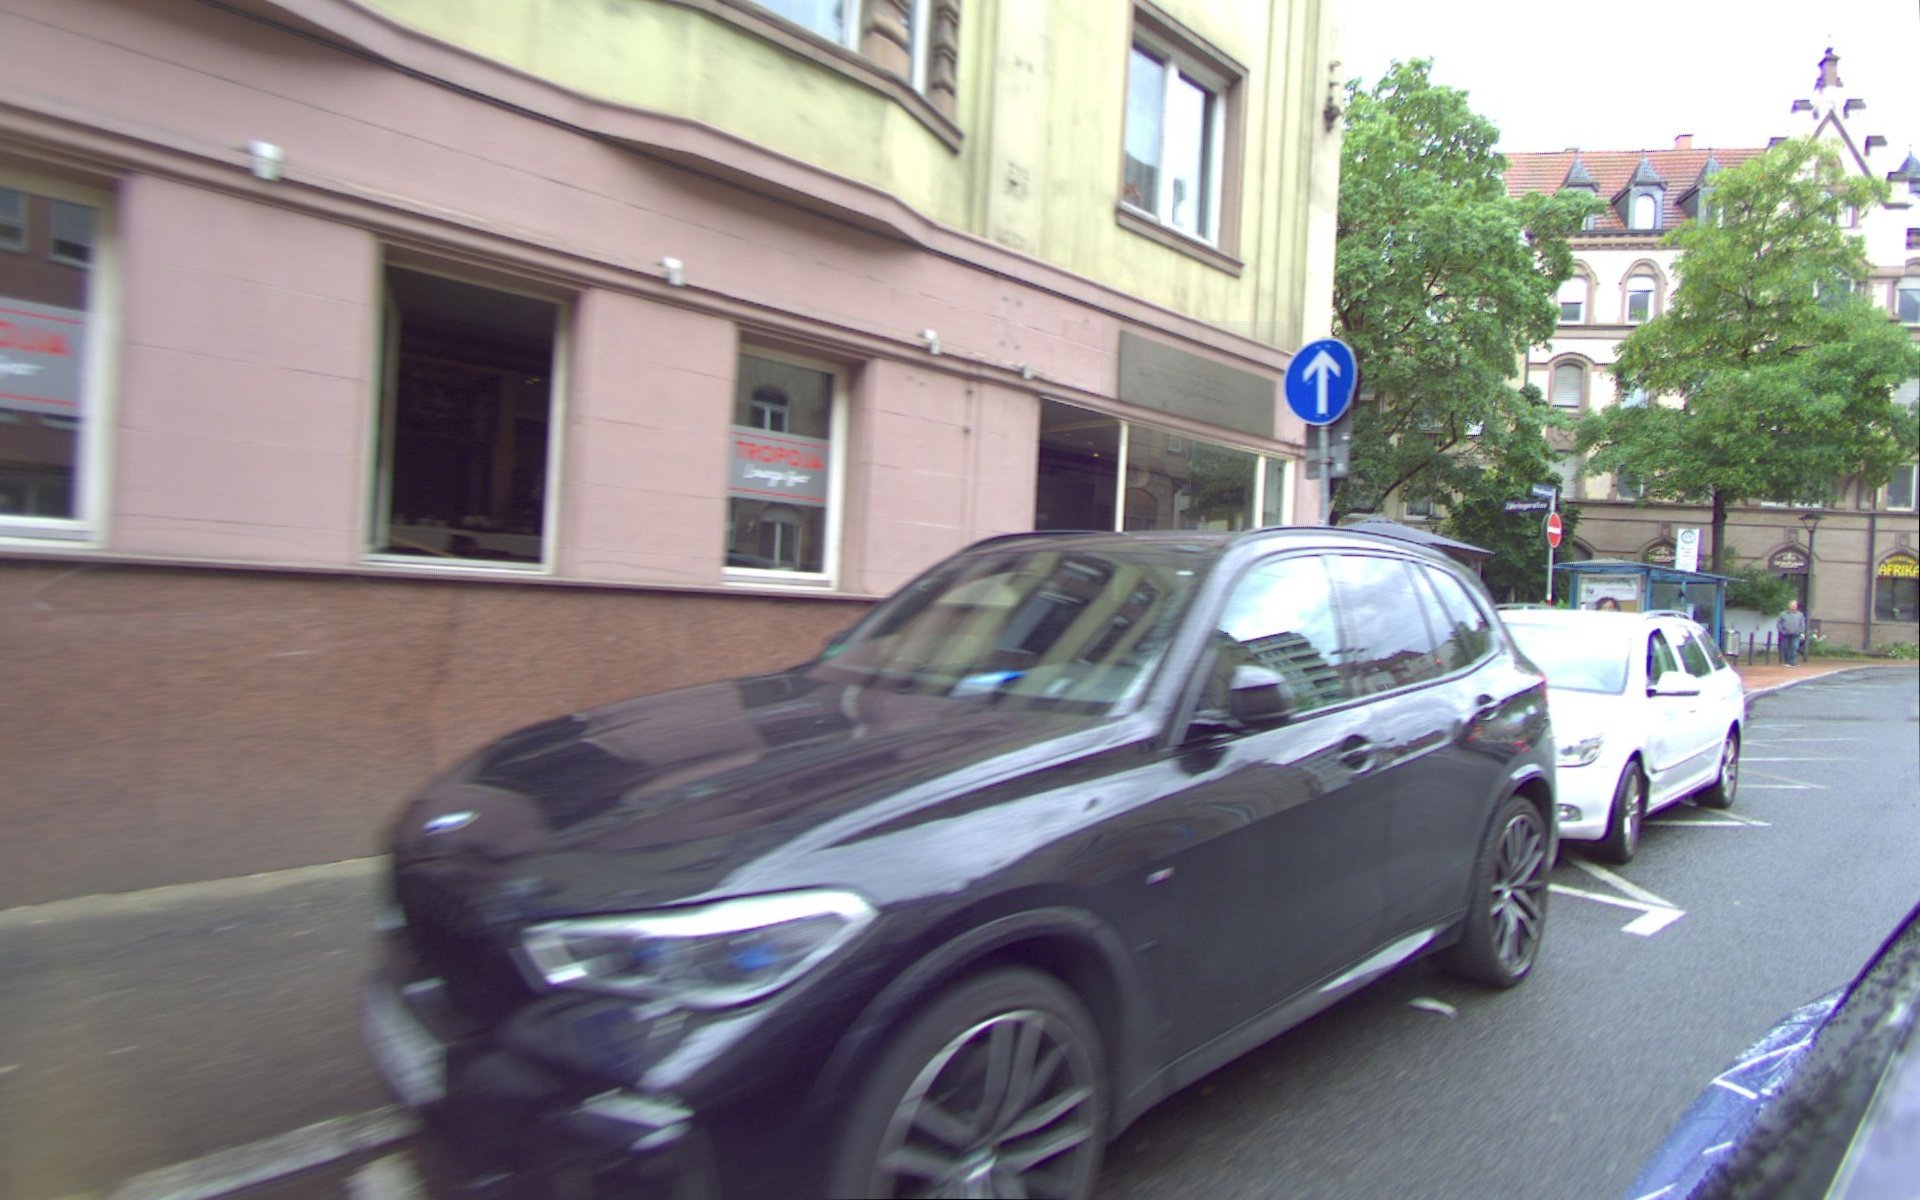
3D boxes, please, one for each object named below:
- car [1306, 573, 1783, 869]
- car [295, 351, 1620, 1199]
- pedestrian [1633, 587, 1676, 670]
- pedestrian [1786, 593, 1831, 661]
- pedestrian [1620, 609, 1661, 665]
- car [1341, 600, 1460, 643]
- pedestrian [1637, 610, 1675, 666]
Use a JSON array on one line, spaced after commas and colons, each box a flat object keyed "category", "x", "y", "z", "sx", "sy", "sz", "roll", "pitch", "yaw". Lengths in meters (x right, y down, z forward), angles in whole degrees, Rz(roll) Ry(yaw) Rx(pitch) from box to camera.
[{"category": "car", "x": 4.559, "y": 0.640, "z": 7.564, "sx": 4.415, "sy": 1.584, "sz": 1.802, "roll": 0, "pitch": 0, "yaw": -42}, {"category": "car", "x": 0.502, "y": 0.534, "z": 3.589, "sx": 4.594, "sy": 1.753, "sz": 1.882, "roll": 0, "pitch": 0, "yaw": -41}, {"category": "pedestrian", "x": 15.323, "y": 0.623, "z": 22.328, "sx": 0.534, "sy": 1.798, "sz": 0.561, "roll": 1, "pitch": -1, "yaw": -12}, {"category": "pedestrian", "x": 22.199, "y": 0.691, "z": 26.489, "sx": 0.716, "sy": 1.756, "sz": 0.574, "roll": 1, "pitch": -1, "yaw": -13}, {"category": "pedestrian", "x": 15.852, "y": 0.854, "z": 23.586, "sx": 0.606, "sy": 1.296, "sz": 0.572, "roll": 1, "pitch": -1, "yaw": -28}, {"category": "car", "x": 16.014, "y": 0.767, "z": 36.820, "sx": 3.769, "sy": 1.495, "sz": 1.775, "roll": 1, "pitch": -1, "yaw": -18}, {"category": "pedestrian", "x": 16.422, "y": 0.891, "z": 23.874, "sx": 0.523, "sy": 1.296, "sz": 0.572, "roll": 1, "pitch": -1, "yaw": -30}]
